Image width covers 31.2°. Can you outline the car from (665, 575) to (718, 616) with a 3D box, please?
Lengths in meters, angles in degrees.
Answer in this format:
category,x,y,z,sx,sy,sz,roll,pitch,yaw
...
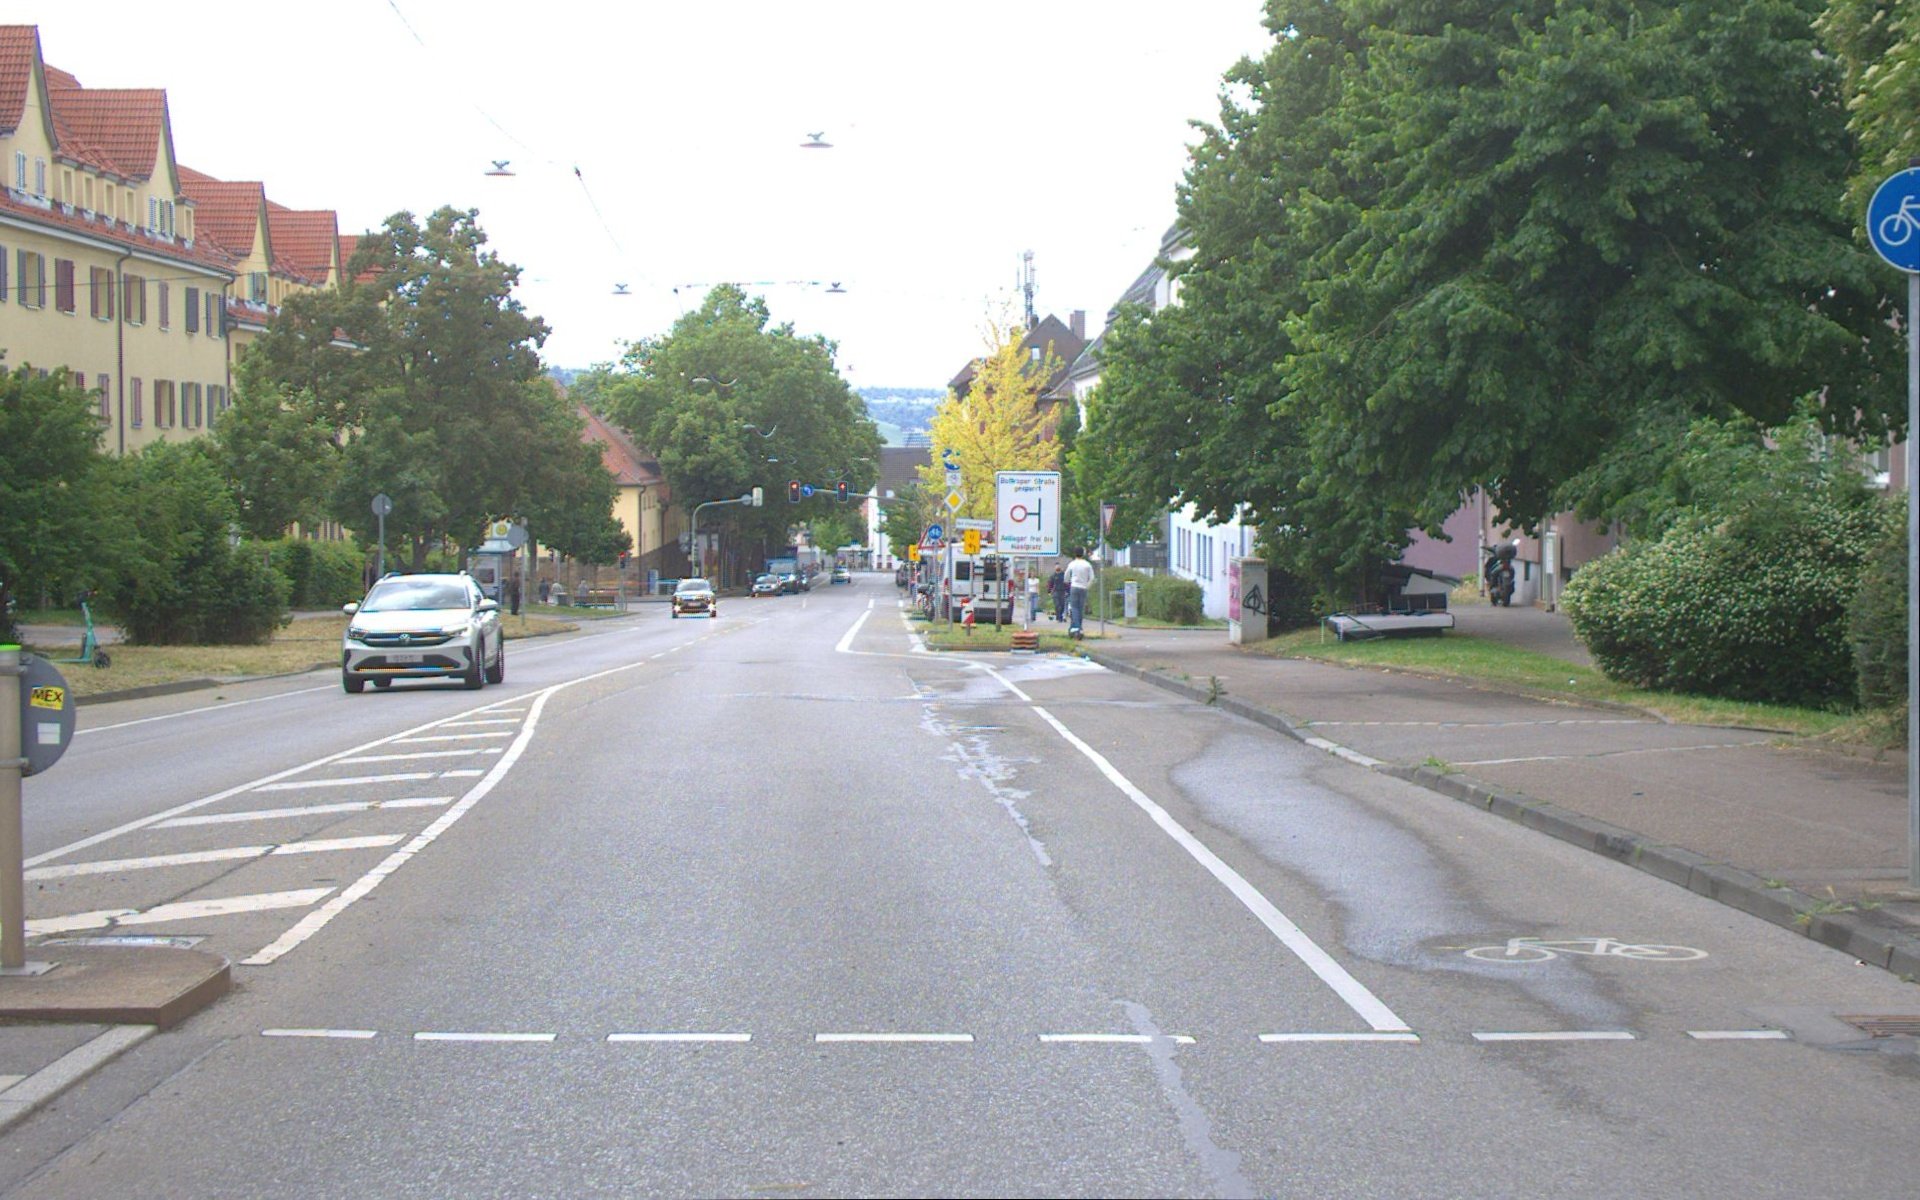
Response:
category,x,y,z,sx,sy,sz,roll,pitch,yaw
car,-11.129,-0.197,142.806,1.899,1.614,4.362,1,1,-1

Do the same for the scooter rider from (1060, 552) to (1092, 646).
category,x,y,z,sx,sy,sz,roll,pitch,yaw
scooter rider,2.489,-0.033,73.817,0.625,2.007,0.758,1,0,-2

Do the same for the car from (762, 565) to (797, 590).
category,x,y,z,sx,sy,sz,roll,pitch,yaw
car,-11.004,-1.399,209.922,1.756,1.467,4.306,-1,1,2

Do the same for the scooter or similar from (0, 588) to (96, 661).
category,x,y,z,sx,sy,sz,roll,pitch,yaw
scooter or similar,-13.866,0.370,52.220,1.369,1.082,0.467,-1,1,-5

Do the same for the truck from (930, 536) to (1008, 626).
category,x,y,z,sx,sy,sz,roll,pitch,yaw
truck,0.239,-0.588,101.357,2.052,2.557,5.690,1,1,-2

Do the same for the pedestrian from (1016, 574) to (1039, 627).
category,x,y,z,sx,sy,sz,roll,pitch,yaw
pedestrian,2.123,0.012,107.617,0.576,1.638,0.561,0,-1,-15

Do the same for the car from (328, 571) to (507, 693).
category,x,y,z,sx,sy,sz,roll,pitch,yaw
car,-6.997,0.375,44.679,1.801,1.459,4.030,-1,1,-2

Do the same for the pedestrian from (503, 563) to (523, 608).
category,x,y,z,sx,sy,sz,roll,pitch,yaw
pedestrian,-17.158,-0.566,131.997,0.597,1.721,0.861,1,0,1

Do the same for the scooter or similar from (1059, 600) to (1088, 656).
category,x,y,z,sx,sy,sz,roll,pitch,yaw
scooter or similar,2.433,0.595,73.772,0.490,1.159,2.075,1,1,-2

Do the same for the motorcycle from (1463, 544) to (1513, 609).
category,x,y,z,sx,sy,sz,roll,pitch,yaw
motorcycle,10.129,-0.459,65.961,0.590,1.223,1.967,0,0,-2

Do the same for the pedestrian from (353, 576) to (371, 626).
category,x,y,z,sx,sy,sz,roll,pitch,yaw
pedestrian,-21.320,0.042,122.667,0.513,1.773,0.753,1,0,-2

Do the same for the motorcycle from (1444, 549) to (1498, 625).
category,x,y,z,sx,sy,sz,roll,pitch,yaw
motorcycle,10.771,-0.284,72.541,0.731,1.564,2.550,1,1,-1
